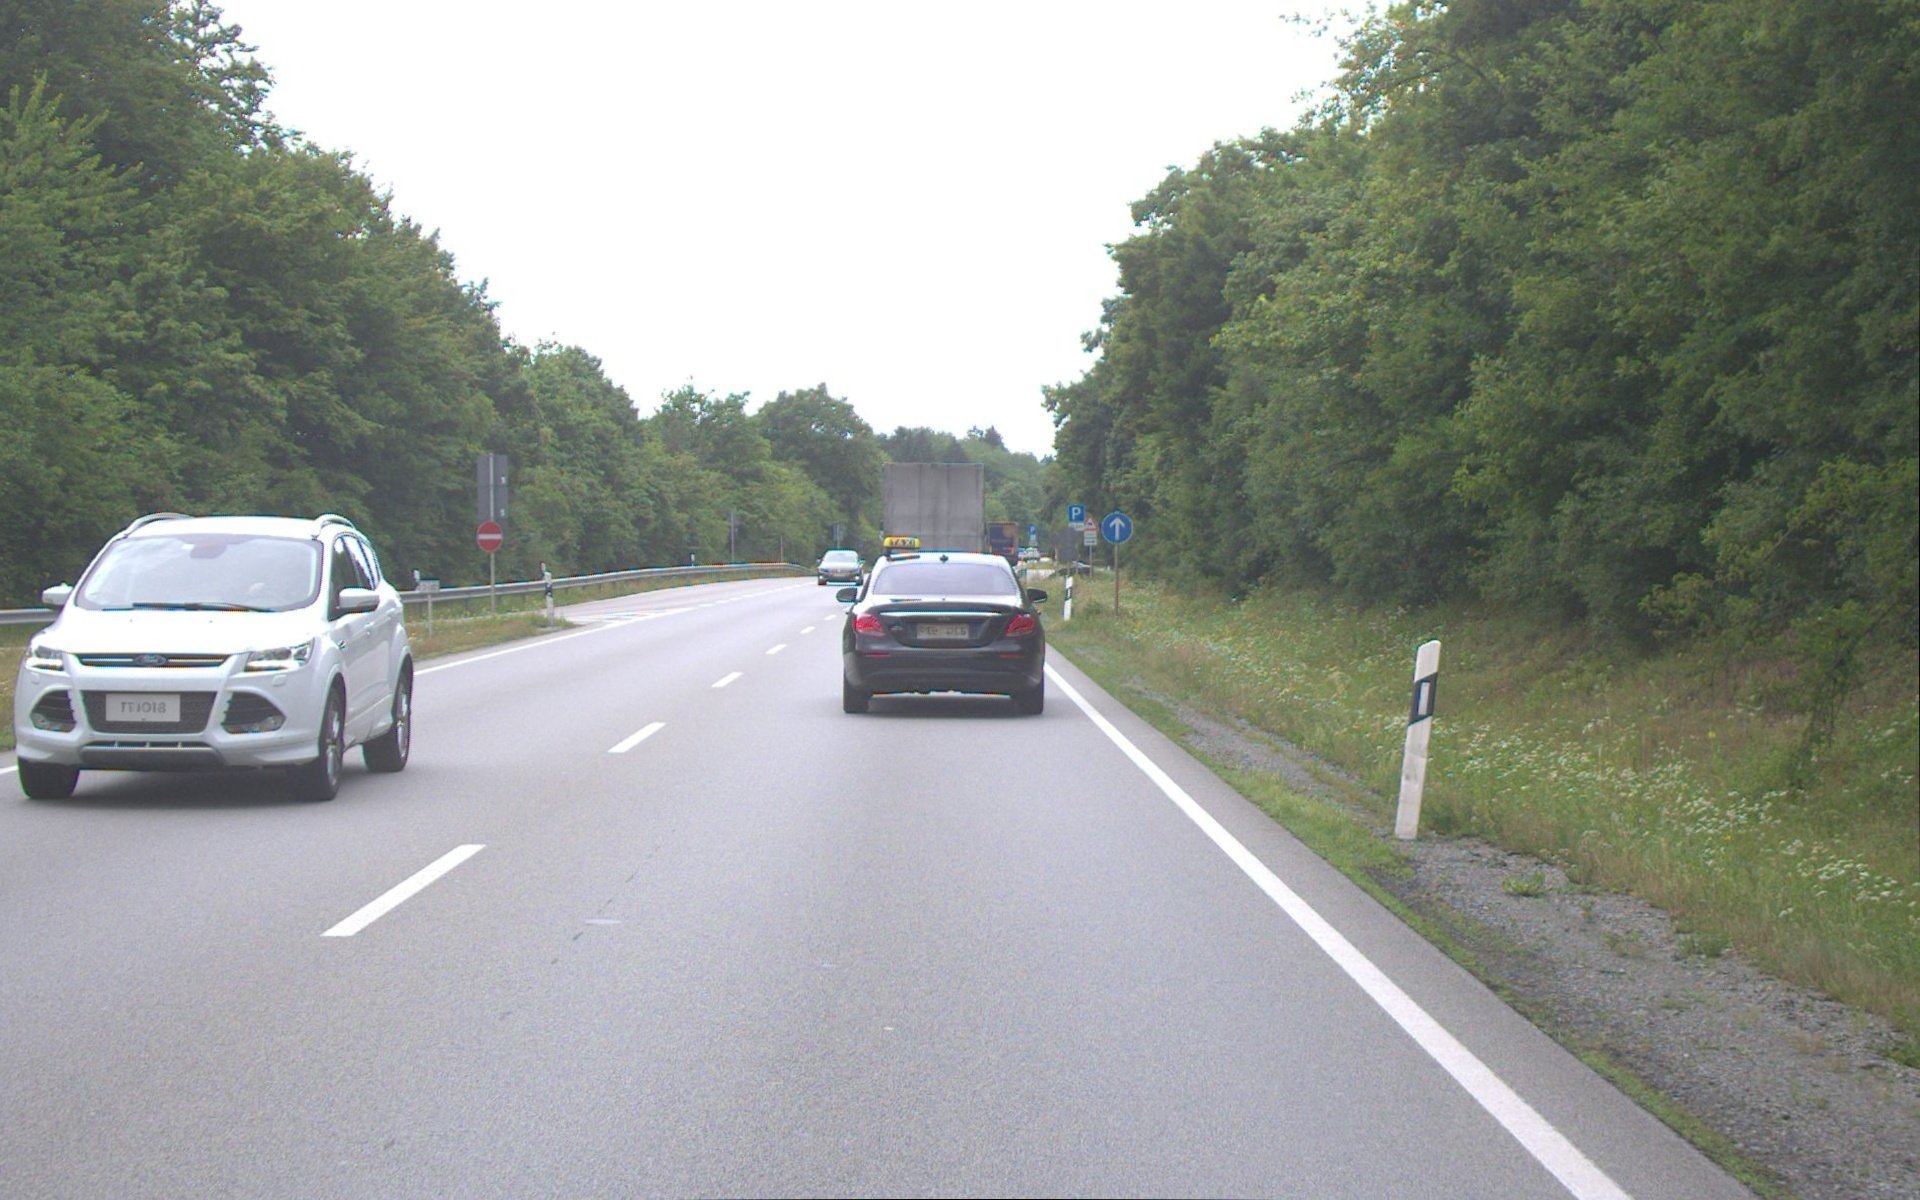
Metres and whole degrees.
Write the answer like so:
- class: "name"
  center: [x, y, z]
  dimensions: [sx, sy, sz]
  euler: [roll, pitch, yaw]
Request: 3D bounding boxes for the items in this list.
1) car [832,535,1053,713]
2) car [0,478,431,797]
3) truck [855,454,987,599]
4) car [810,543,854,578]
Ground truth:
- class: "car"
  center: [-0.230, 0.179, 32.068]
  dimensions: [1.791, 1.546, 4.001]
  euler: [1, 1, -4]
- class: "car"
  center: [-4.586, 0.173, 21.637]
  dimensions: [1.913, 1.774, 4.613]
  euler: [1, 1, -2]
- class: "truck"
  center: [-0.978, -1.922, 91.846]
  dimensions: [3.281, 3.599, 11.400]
  euler: [1, 1, 0]
- class: "car"
  center: [-5.429, -1.695, 145.513]
  dimensions: [1.808, 1.437, 4.448]
  euler: [1, 1, -2]
